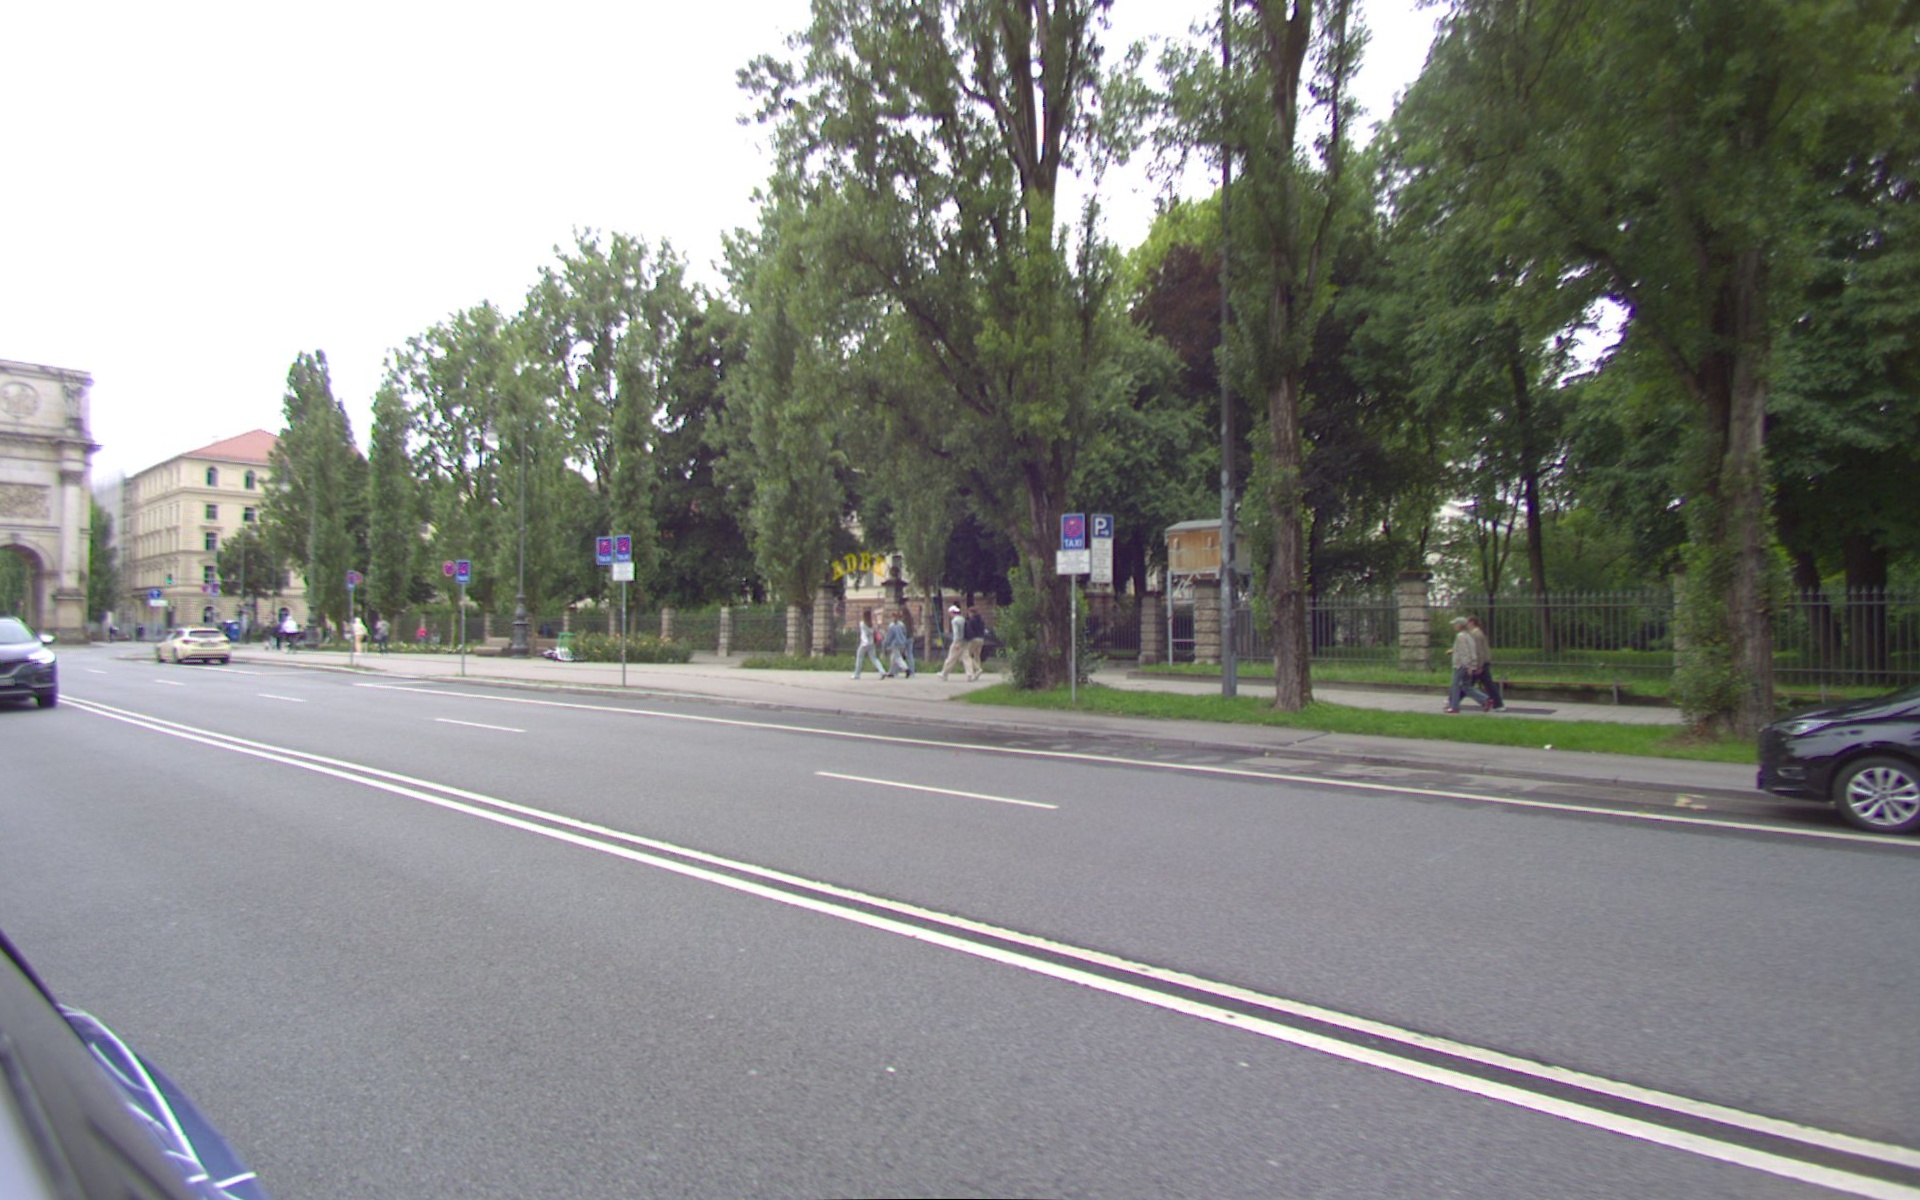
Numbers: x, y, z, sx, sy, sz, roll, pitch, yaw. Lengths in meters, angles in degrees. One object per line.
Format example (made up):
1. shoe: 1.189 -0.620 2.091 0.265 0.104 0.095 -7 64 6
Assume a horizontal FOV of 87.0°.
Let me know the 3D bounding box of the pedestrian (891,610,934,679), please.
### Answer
1. pedestrian: -1.215 1.142 26.062 0.910 1.729 0.653 -2 -2 40

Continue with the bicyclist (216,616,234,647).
1. bicyclist: -39.209 1.687 53.993 0.660 1.604 0.639 -1 -1 39

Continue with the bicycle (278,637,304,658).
1. bicycle: -31.083 2.192 46.992 1.912 0.959 0.464 -1 -1 40

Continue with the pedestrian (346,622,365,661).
1. pedestrian: -27.098 1.871 45.369 0.581 1.744 0.527 -1 -2 29

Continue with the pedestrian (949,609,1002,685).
1. pedestrian: 0.381 1.128 24.773 1.092 1.786 0.702 -1 -1 40

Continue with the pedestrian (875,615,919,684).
1. pedestrian: -1.593 1.230 25.459 0.885 1.713 0.681 -2 -2 40

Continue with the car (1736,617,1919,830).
1. car: 8.670 0.957 7.603 4.386 1.596 1.924 -1 -4 41

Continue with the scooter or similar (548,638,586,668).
1. scooter or similar: -15.562 2.098 40.103 1.413 1.187 0.738 -1 -3 36

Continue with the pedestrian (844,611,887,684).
1. pedestrian: -2.347 1.170 25.130 0.907 1.760 0.623 -2 -2 40

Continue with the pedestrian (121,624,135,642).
1. pedestrian: -85.081 3.406 103.496 1.017 1.837 0.883 1 -2 -42

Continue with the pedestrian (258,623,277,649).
1. pedestrian: -46.718 2.418 68.320 0.944 1.731 1.033 0 0 -28

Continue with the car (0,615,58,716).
1. car: -17.055 1.090 17.374 4.182 1.598 1.817 -2 -1 41

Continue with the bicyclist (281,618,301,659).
1. bicyclist: -31.059 1.778 46.963 0.660 1.837 0.583 -1 -1 39

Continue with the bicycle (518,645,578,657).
1. bicycle: -17.982 2.227 44.252 1.331 0.456 2.204 -2 -2 18

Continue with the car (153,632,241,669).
1. car: -30.779 2.010 40.770 4.464 1.347 1.774 -1 -2 39

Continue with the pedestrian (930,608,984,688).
1. pedestrian: -0.065 1.123 24.207 1.092 1.847 0.702 -1 -1 40

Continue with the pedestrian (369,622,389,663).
1. pedestrian: -25.296 1.845 44.064 0.581 1.744 0.527 -1 -2 29

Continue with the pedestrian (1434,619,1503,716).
1. pedestrian: 8.395 1.092 16.709 0.875 1.560 0.711 -1 -2 39

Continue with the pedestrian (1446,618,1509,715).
1. pedestrian: 8.846 1.115 17.292 0.812 1.617 0.711 -2 -2 39

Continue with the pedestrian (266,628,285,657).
1. pedestrian: -43.426 2.690 64.208 0.945 1.731 1.032 0 0 -37

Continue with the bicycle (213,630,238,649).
1. bicycle: -39.147 2.102 53.928 1.912 0.959 0.666 -1 -1 40
